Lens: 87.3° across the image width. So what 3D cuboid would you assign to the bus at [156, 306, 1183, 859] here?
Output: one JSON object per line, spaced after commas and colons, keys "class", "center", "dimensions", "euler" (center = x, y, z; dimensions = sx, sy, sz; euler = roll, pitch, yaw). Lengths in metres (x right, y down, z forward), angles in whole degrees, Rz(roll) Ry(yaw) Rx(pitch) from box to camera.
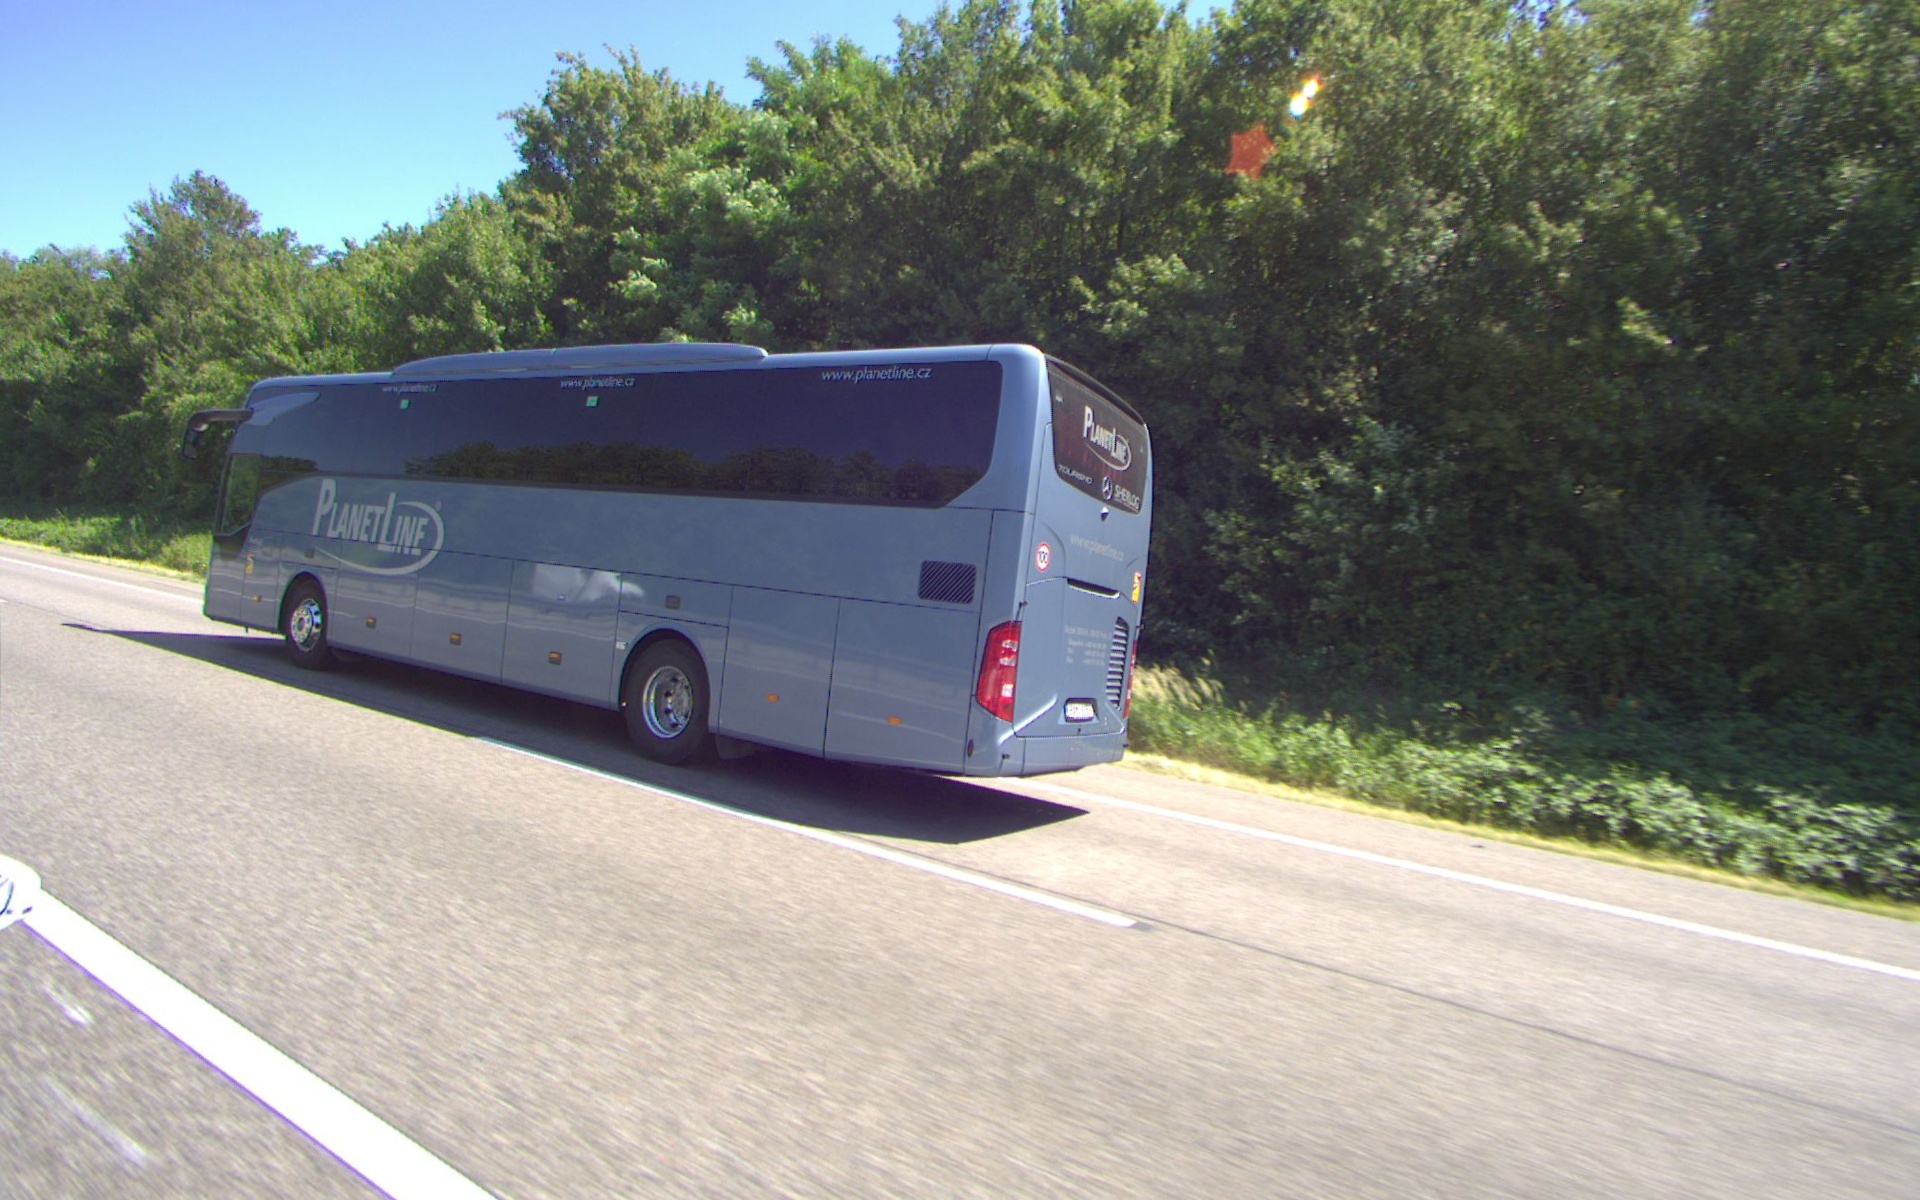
{"class": "bus", "center": [-4.140, -0.573, 10.942], "dimensions": [12.265, 3.639, 2.807], "euler": [6, -1, 31]}
